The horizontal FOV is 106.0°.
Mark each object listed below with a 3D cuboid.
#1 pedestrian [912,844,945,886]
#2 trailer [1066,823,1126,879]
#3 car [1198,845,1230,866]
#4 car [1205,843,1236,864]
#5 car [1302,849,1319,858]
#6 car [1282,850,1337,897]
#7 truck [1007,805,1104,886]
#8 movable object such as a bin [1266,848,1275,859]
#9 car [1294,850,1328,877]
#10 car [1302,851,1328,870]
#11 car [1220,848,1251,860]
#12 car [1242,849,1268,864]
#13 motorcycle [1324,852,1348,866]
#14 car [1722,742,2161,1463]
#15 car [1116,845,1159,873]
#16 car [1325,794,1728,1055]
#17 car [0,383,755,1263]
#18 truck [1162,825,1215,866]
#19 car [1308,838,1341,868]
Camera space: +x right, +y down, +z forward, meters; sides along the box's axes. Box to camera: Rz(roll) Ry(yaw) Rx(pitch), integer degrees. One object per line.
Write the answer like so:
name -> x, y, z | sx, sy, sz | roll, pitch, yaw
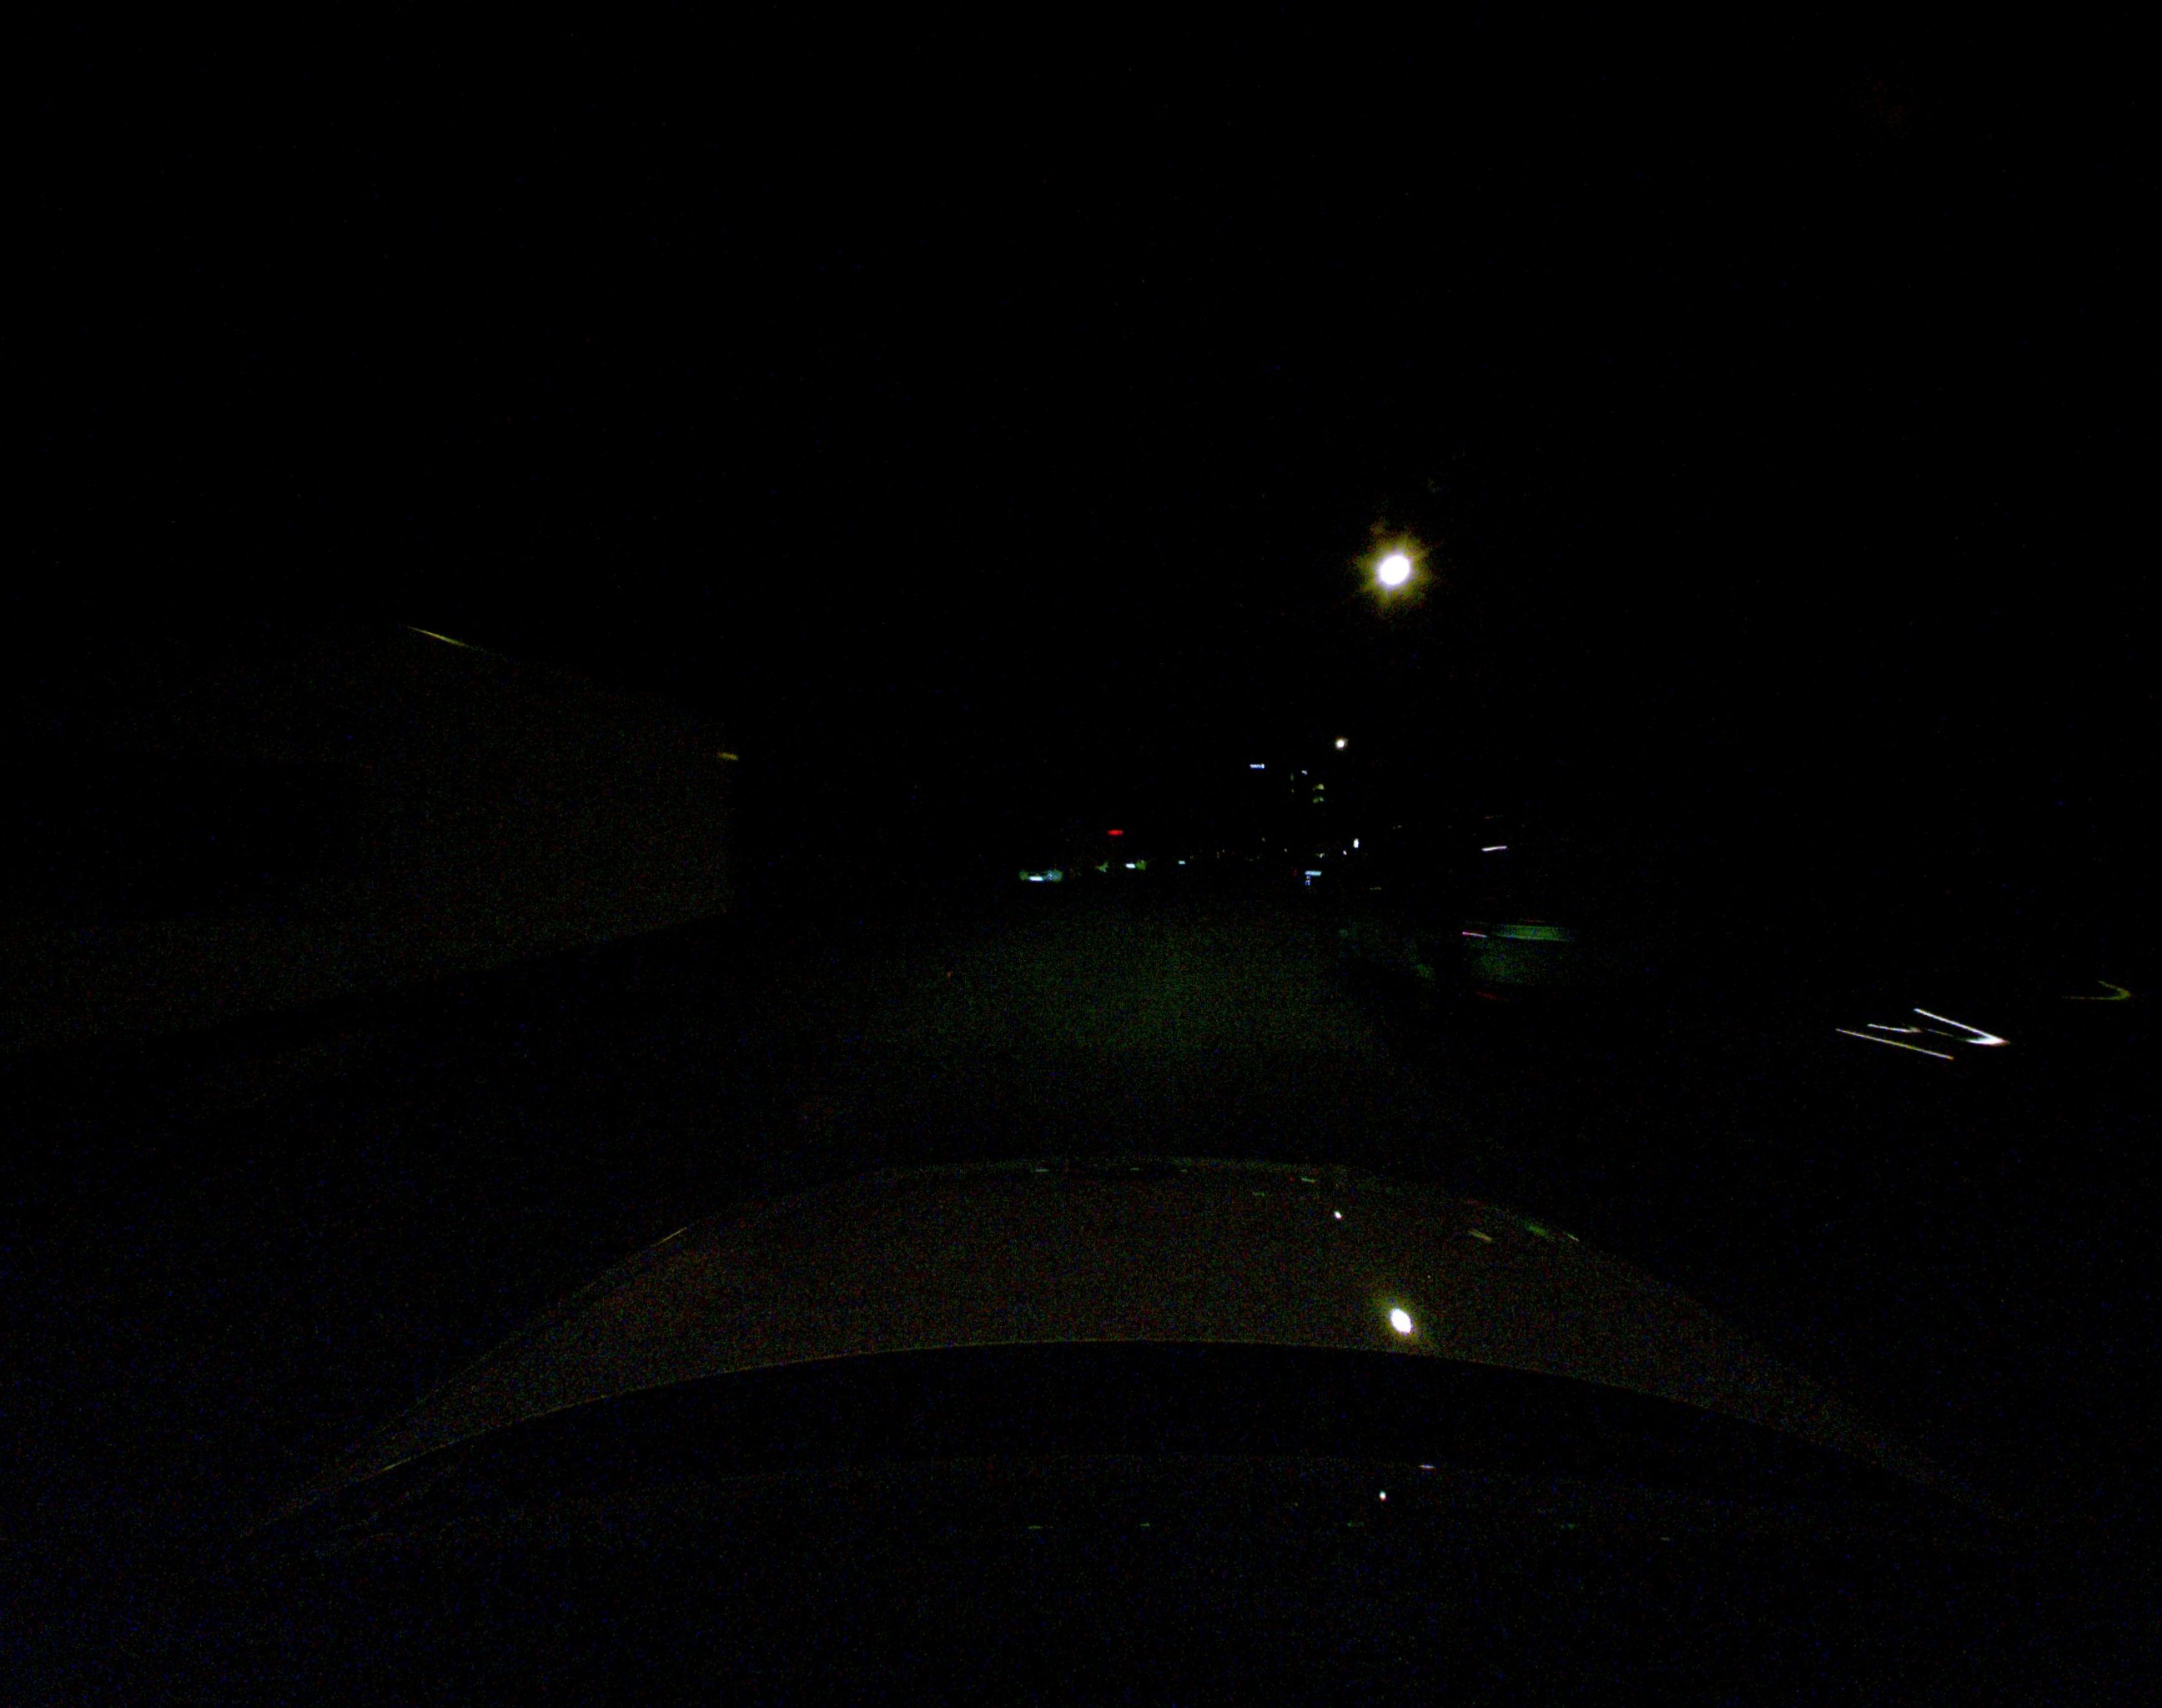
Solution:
pedestrian -> -6.100, 0.431, 32.530 | 0.770, 1.671, 1.013 | -1, 0, 40
trailer -> 0.854, -0.157, 42.968 | 2.189, 2.795, 4.634 | 0, 0, 14
car -> 12.358, 0.139, 75.484 | 1.813, 1.816, 4.865 | -1, 0, 23
car -> 16.451, -0.060, 95.845 | 1.974, 2.321, 4.997 | -2, -1, 28
car -> 36.351, -0.092, 128.740 | 1.894, 1.404, 4.363 | -1, 0, 25
car -> 8.143, 0.657, 29.319 | 1.598, 1.511, 3.838 | 2, 1, 12
truck -> -0.943, -0.358, 36.448 | 2.355, 3.243, 7.261 | 0, 0, 15
movable object such as a bin -> 27.452, -0.092, 117.927 | 1.154, 1.496, 1.071 | 0, 0, 22
car -> 13.317, 0.514, 47.317 | 1.698, 1.508, 4.015 | 1, 0, 14
car -> 19.220, 0.519, 66.762 | 1.696, 1.508, 4.664 | 0, 0, 21
car -> 21.449, -0.011, 113.051 | 3.951, 1.571, 1.827 | -1, 0, 24
car -> 19.691, 0.280, 92.140 | 1.739, 1.526, 4.347 | 2, 0, 26
motorcycle -> 24.029, 0.464, 76.718 | 0.771, 1.183, 2.163 | 1, 1, -34
car -> 3.499, 0.626, 1.300 | 1.722, 1.779, 4.320 | 1, 0, 3
car -> 3.754, 0.295, 53.644 | 1.979, 1.772, 4.711 | 0, 0, 15
car -> 4.250, 0.530, 9.014 | 1.984, 2.013, 5.363 | 0, 0, 6
car -> -5.107, -0.126, 5.976 | 2.373, 3.243, 7.233 | 0, 0, 1
truck -> 9.271, -0.682, 69.340 | 2.521, 3.280, 7.353 | 0, 0, 23
car -> 21.847, -0.102, 72.848 | 2.003, 2.526, 6.085 | 1, 1, 24
